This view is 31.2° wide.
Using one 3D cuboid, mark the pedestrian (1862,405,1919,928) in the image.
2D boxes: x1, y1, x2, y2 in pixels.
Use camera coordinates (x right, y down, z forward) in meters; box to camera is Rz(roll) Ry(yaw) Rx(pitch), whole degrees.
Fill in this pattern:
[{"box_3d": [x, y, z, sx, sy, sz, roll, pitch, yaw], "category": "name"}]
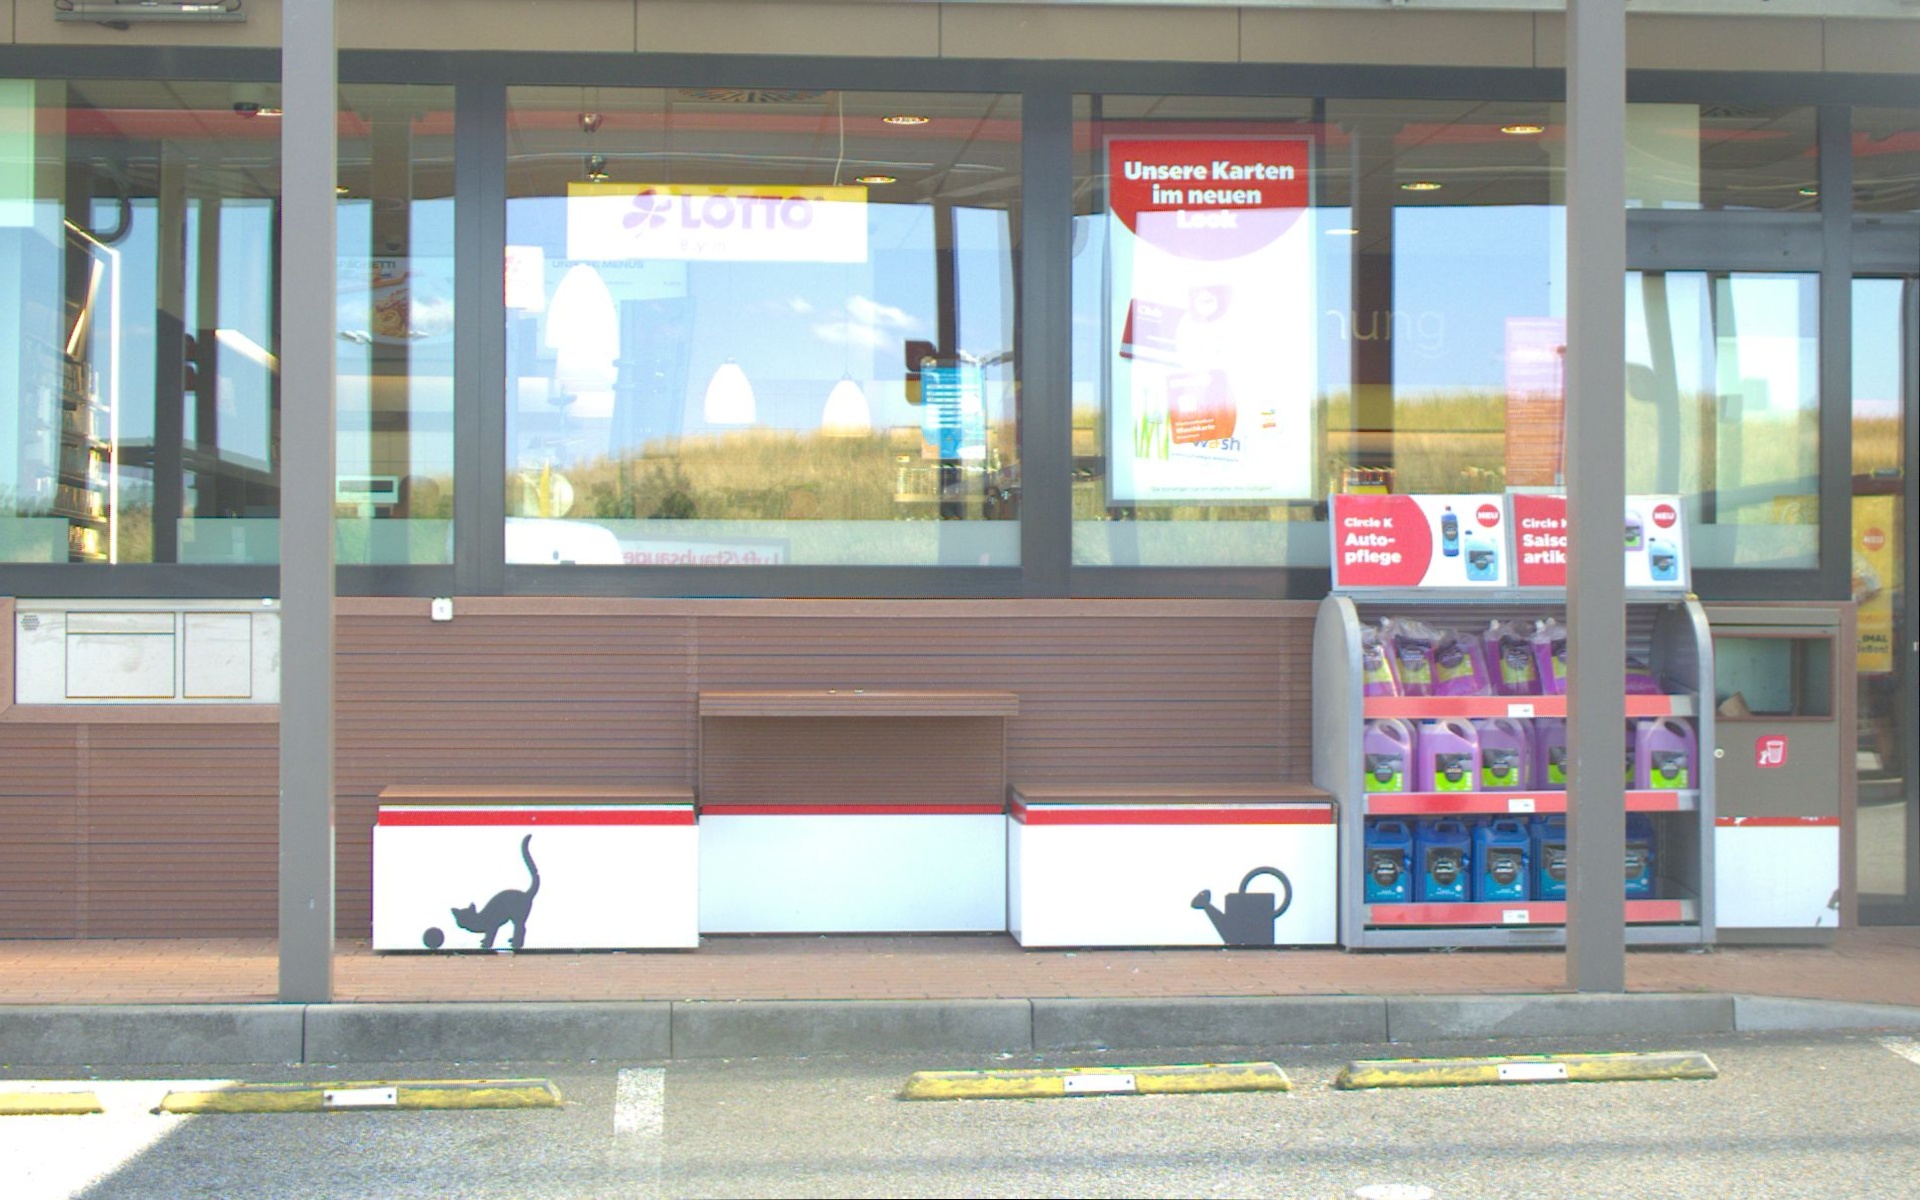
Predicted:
[{"box_3d": [3.633, 0.225, 12.038, 0.701, 1.791, 0.862, 0, 1, -1], "category": "pedestrian"}]
